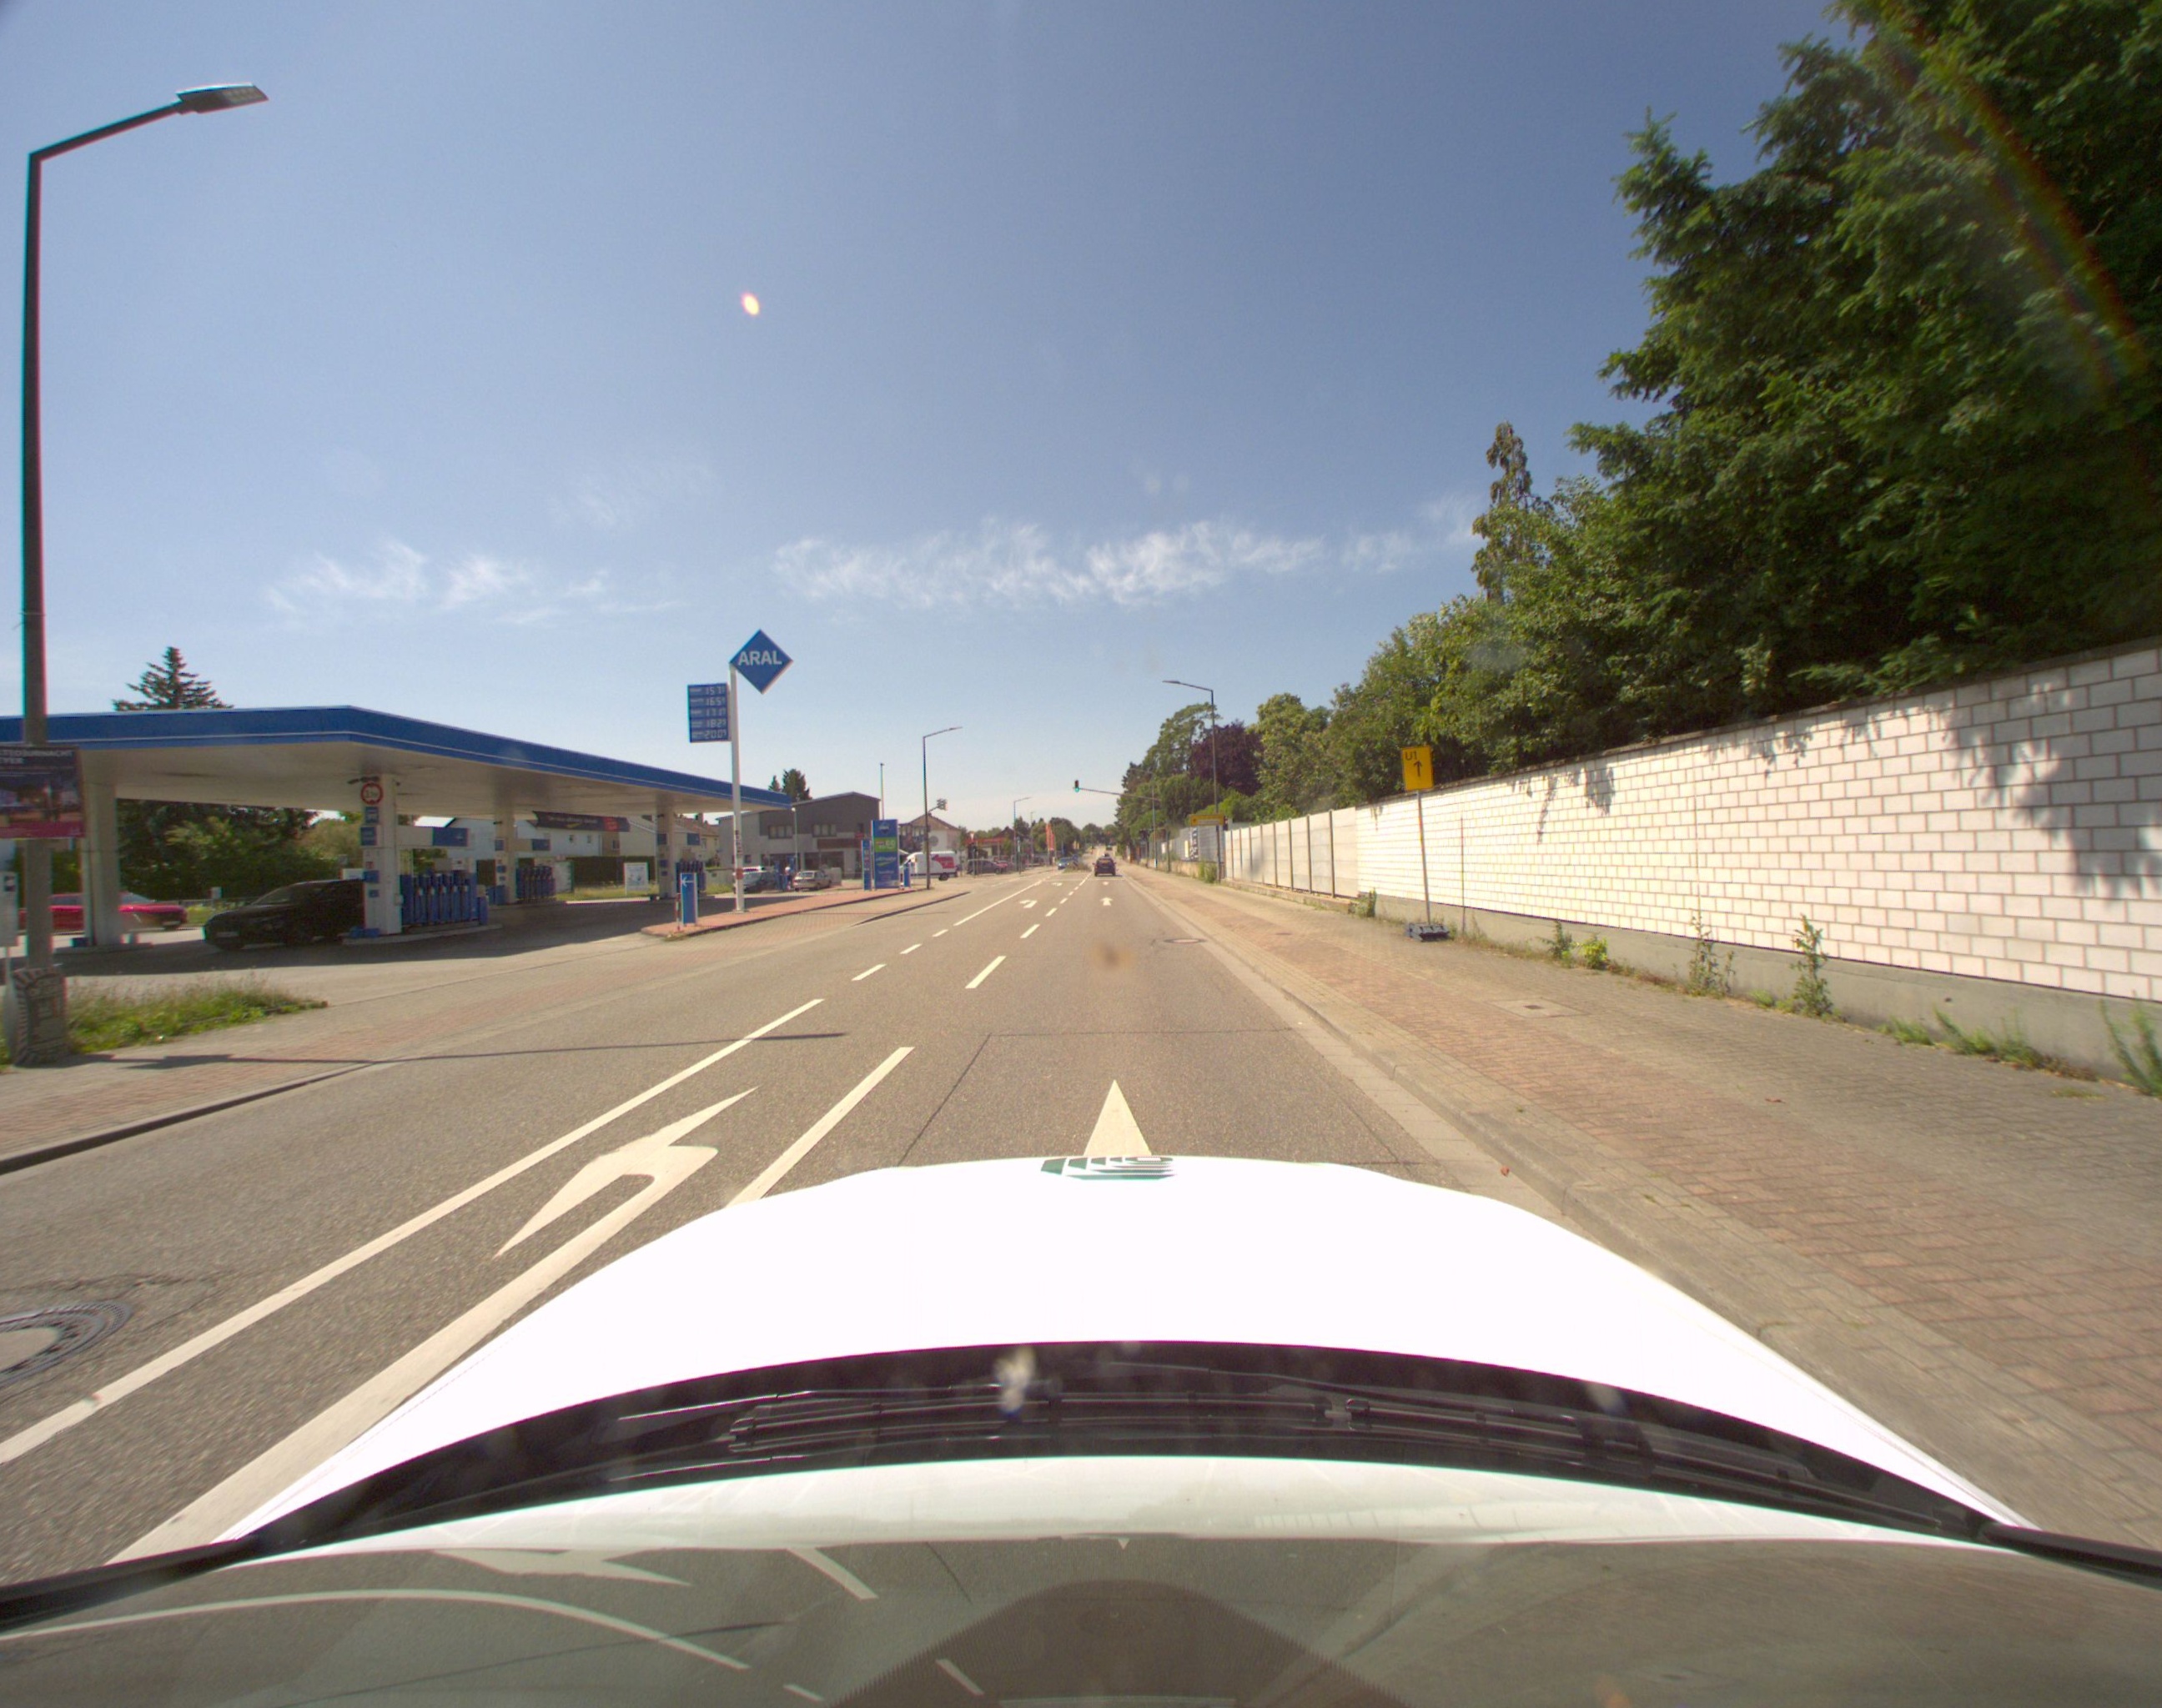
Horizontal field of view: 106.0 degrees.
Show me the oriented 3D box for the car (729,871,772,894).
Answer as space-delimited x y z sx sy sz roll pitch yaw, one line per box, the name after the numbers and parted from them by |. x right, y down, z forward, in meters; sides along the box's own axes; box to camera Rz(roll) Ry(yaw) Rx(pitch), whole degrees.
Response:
-23.257 2.000 57.450 1.613 1.420 3.707 -4 0 -3 | car

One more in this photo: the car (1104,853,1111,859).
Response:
6.520 0.522 201.108 1.659 1.455 3.473 -2 0 1 | car

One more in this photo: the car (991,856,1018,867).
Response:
-11.582 1.136 123.407 3.977 1.508 1.553 -2 0 -3 | car

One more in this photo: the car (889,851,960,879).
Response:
-13.833 0.954 71.801 5.946 2.423 1.987 0 -2 -19 | car

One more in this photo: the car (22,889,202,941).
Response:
-34.241 2.134 28.890 3.983 1.536 1.671 -2 0 -7 | car

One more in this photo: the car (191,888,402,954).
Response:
-20.694 1.703 21.748 1.664 1.381 4.001 -2 0 1 | car

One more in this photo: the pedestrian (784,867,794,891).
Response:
-21.140 1.783 58.943 0.614 1.691 0.703 -2 0 -25 | pedestrian

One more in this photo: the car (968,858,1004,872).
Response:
-11.198 1.312 96.059 3.977 1.508 1.553 -2 0 -3 | car

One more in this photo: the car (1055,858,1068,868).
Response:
-2.639 1.216 111.710 1.581 1.393 3.473 -2 0 1 | car

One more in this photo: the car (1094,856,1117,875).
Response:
1.938 0.888 64.593 1.659 1.455 3.473 -2 0 1 | car

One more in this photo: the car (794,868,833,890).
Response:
-19.007 1.759 57.970 1.613 1.420 3.707 -4 0 -3 | car

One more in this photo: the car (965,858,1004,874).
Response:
-10.475 1.286 88.383 3.977 1.508 1.553 -2 0 -3 | car

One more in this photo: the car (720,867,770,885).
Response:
-32.103 2.065 77.870 3.977 1.508 1.553 -2 0 -3 | car
